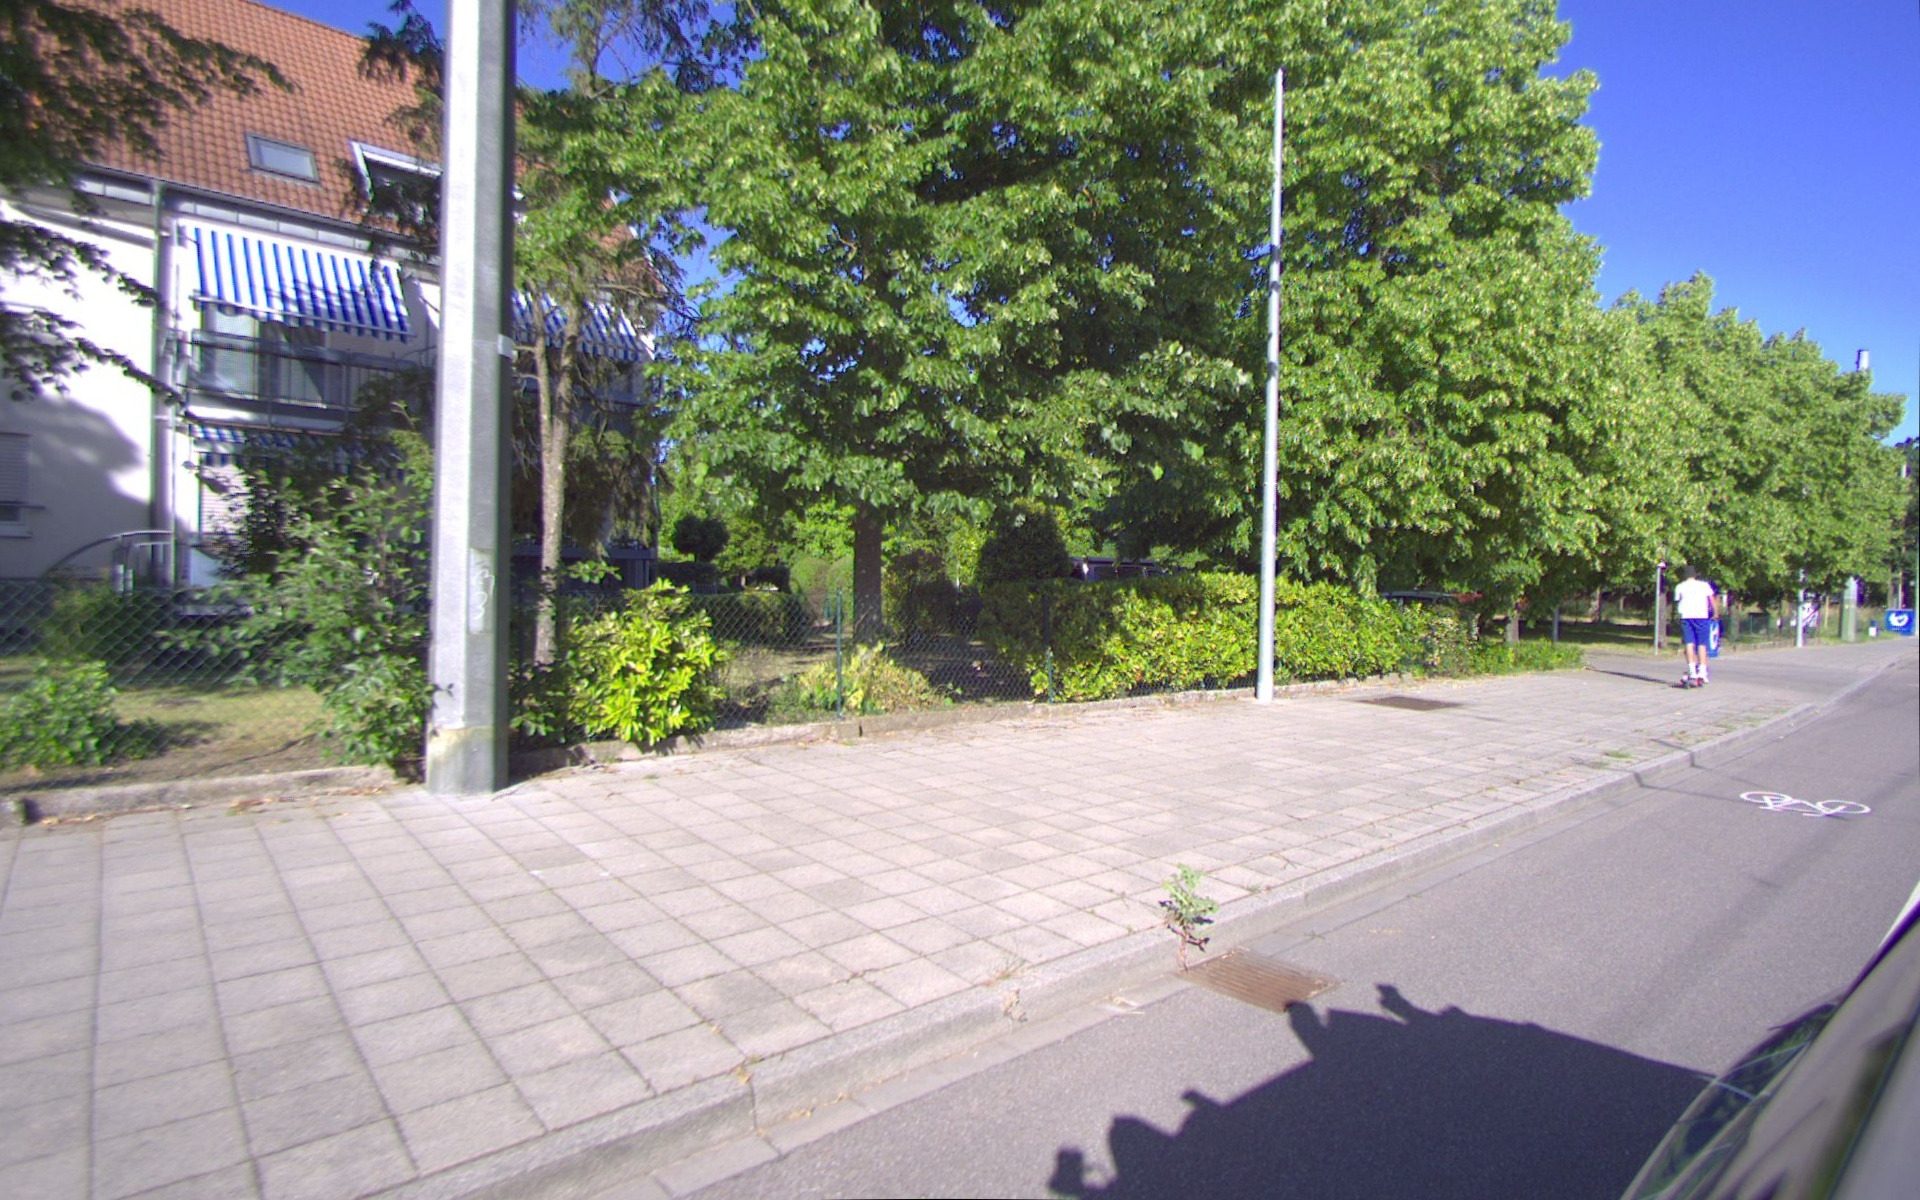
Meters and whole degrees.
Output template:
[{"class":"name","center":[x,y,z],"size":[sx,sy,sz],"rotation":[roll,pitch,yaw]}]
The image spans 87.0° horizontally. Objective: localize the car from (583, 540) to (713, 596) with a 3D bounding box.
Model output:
[{"class":"car","center":[-14.987,-1.504,48.862],"size":[5.586,2.565,2.194],"rotation":[-1,0,-42]}]

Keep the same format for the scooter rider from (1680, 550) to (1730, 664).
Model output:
[{"class":"scooter rider","center":[11.964,0.112,16.255],"size":[0.588,1.789,0.551],"rotation":[0,0,-42]}]

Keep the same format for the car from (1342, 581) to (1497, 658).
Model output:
[{"class":"car","center":[9.342,0.344,20.439],"size":[3.986,1.378,1.464],"rotation":[0,2,-44]}]

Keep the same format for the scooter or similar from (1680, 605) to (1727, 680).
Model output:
[{"class":"scooter or similar","center":[11.974,0.663,16.291],"size":[1.188,1.151,0.349],"rotation":[0,1,-42]}]

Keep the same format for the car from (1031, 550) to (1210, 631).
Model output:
[{"class":"car","center":[4.291,-0.269,26.587],"size":[4.870,1.962,1.877],"rotation":[0,2,-40]}]
